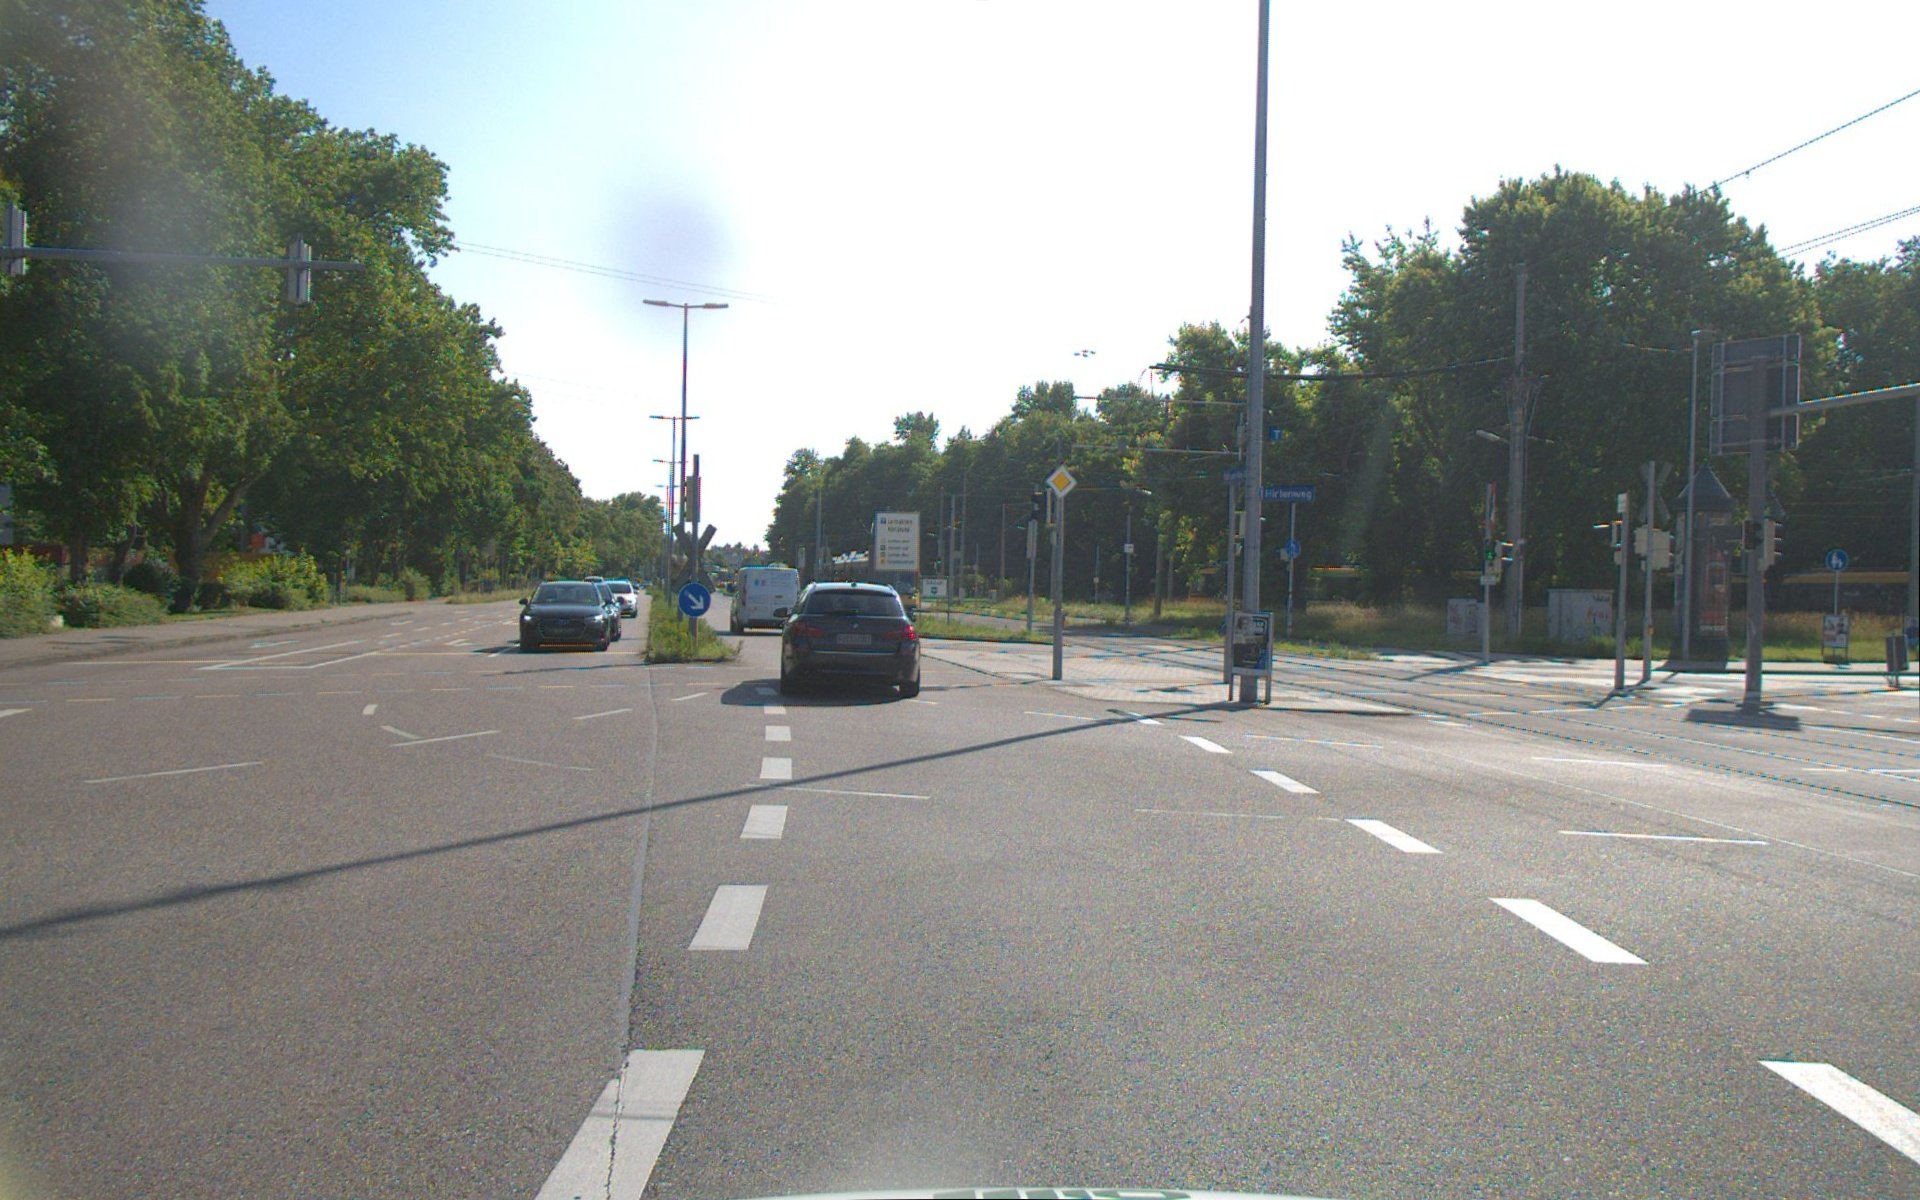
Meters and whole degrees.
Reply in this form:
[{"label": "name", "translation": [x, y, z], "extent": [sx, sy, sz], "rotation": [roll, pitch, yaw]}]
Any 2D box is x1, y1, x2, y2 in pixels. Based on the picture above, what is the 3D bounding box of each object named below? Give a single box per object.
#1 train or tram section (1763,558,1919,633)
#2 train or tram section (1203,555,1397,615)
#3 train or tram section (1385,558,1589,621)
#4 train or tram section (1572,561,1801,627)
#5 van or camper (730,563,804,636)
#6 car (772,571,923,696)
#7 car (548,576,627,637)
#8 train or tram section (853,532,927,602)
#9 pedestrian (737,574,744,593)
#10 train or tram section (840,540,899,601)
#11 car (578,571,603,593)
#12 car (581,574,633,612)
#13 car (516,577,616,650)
[{"label": "train or tram section", "translation": [47.340, -0.267, 86.389], "extent": [2.989, 3.642, 12.200], "rotation": [1, 1, -11]}, {"label": "train or tram section", "translation": [22.347, -1.011, 108.796], "extent": [12.141, 3.642, 3.055], "rotation": [1, 0, 19]}, {"label": "train or tram section", "translation": [33.173, -0.708, 104.367], "extent": [11.947, 3.642, 3.052], "rotation": [1, 0, 24]}, {"label": "train or tram section", "translation": [42.407, -0.426, 96.990], "extent": [3.032, 3.642, 12.028], "rotation": [1, 1, -45]}, {"label": "van or camper", "translation": [-6.018, -0.044, 51.253], "extent": [1.958, 2.132, 4.587], "rotation": [1, 1, -11]}, {"label": "car", "translation": [-1.596, 0.399, 22.679], "extent": [1.866, 1.532, 4.060], "rotation": [1, 0, -6]}, {"label": "car", "translation": [-9.349, 0.129, 41.705], "extent": [1.796, 1.460, 4.369], "rotation": [0, 1, -11]}, {"label": "train or tram section", "translation": [-4.175, -1.782, 95.303], "extent": [2.744, 3.681, 12.929], "rotation": [2, 0, -9]}, {"label": "pedestrian", "translation": [-24.339, -1.819, 183.160], "extent": [0.686, 2.049, 0.700], "rotation": [2, 0, -11]}, {"label": "train or tram section", "translation": [-5.953, -1.828, 107.250], "extent": [2.699, 3.616, 11.234], "rotation": [2, 0, -9]}, {"label": "car", "translation": [-30.282, -1.479, 135.671], "extent": [1.756, 1.803, 4.559], "rotation": [1, 1, -10]}, {"label": "car", "translation": [-14.529, -0.304, 68.301], "extent": [1.814, 1.503, 4.636], "rotation": [1, 1, -9]}, {"label": "car", "translation": [-8.400, 0.237, 35.550], "extent": [1.796, 1.456, 4.720], "rotation": [0, 1, -10]}]
